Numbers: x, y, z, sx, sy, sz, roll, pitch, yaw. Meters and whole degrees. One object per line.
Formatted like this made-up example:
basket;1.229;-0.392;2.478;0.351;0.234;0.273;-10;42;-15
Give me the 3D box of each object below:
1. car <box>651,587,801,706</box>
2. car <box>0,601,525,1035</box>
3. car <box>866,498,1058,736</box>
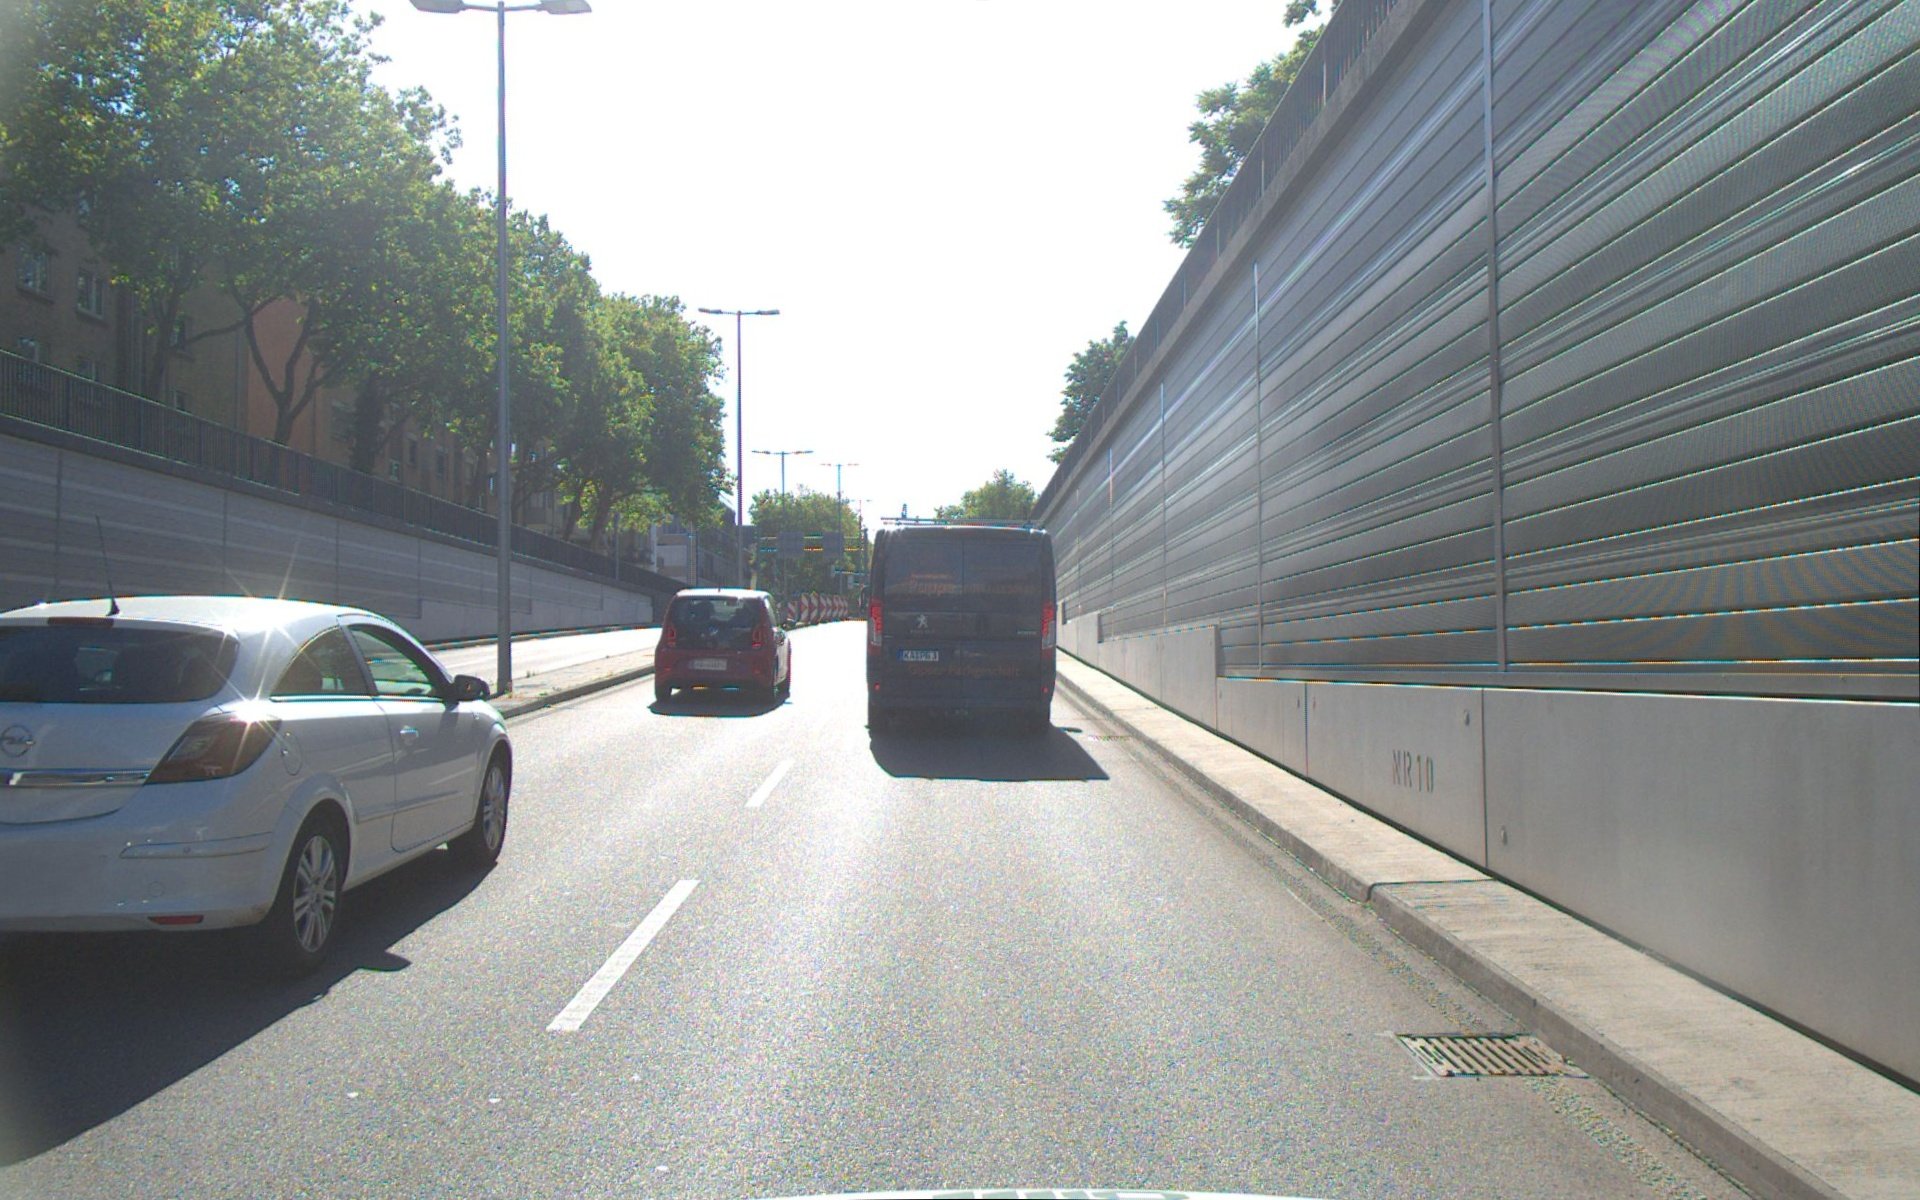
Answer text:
car;-3.161;0.584;22.859;1.655;1.509;3.318;1;0;-1
car;-3.222;0.731;7.390;1.586;1.428;3.851;1;0;-1
car;-0.006;0.191;19.050;1.989;2.444;3.972;0;-1;-1
